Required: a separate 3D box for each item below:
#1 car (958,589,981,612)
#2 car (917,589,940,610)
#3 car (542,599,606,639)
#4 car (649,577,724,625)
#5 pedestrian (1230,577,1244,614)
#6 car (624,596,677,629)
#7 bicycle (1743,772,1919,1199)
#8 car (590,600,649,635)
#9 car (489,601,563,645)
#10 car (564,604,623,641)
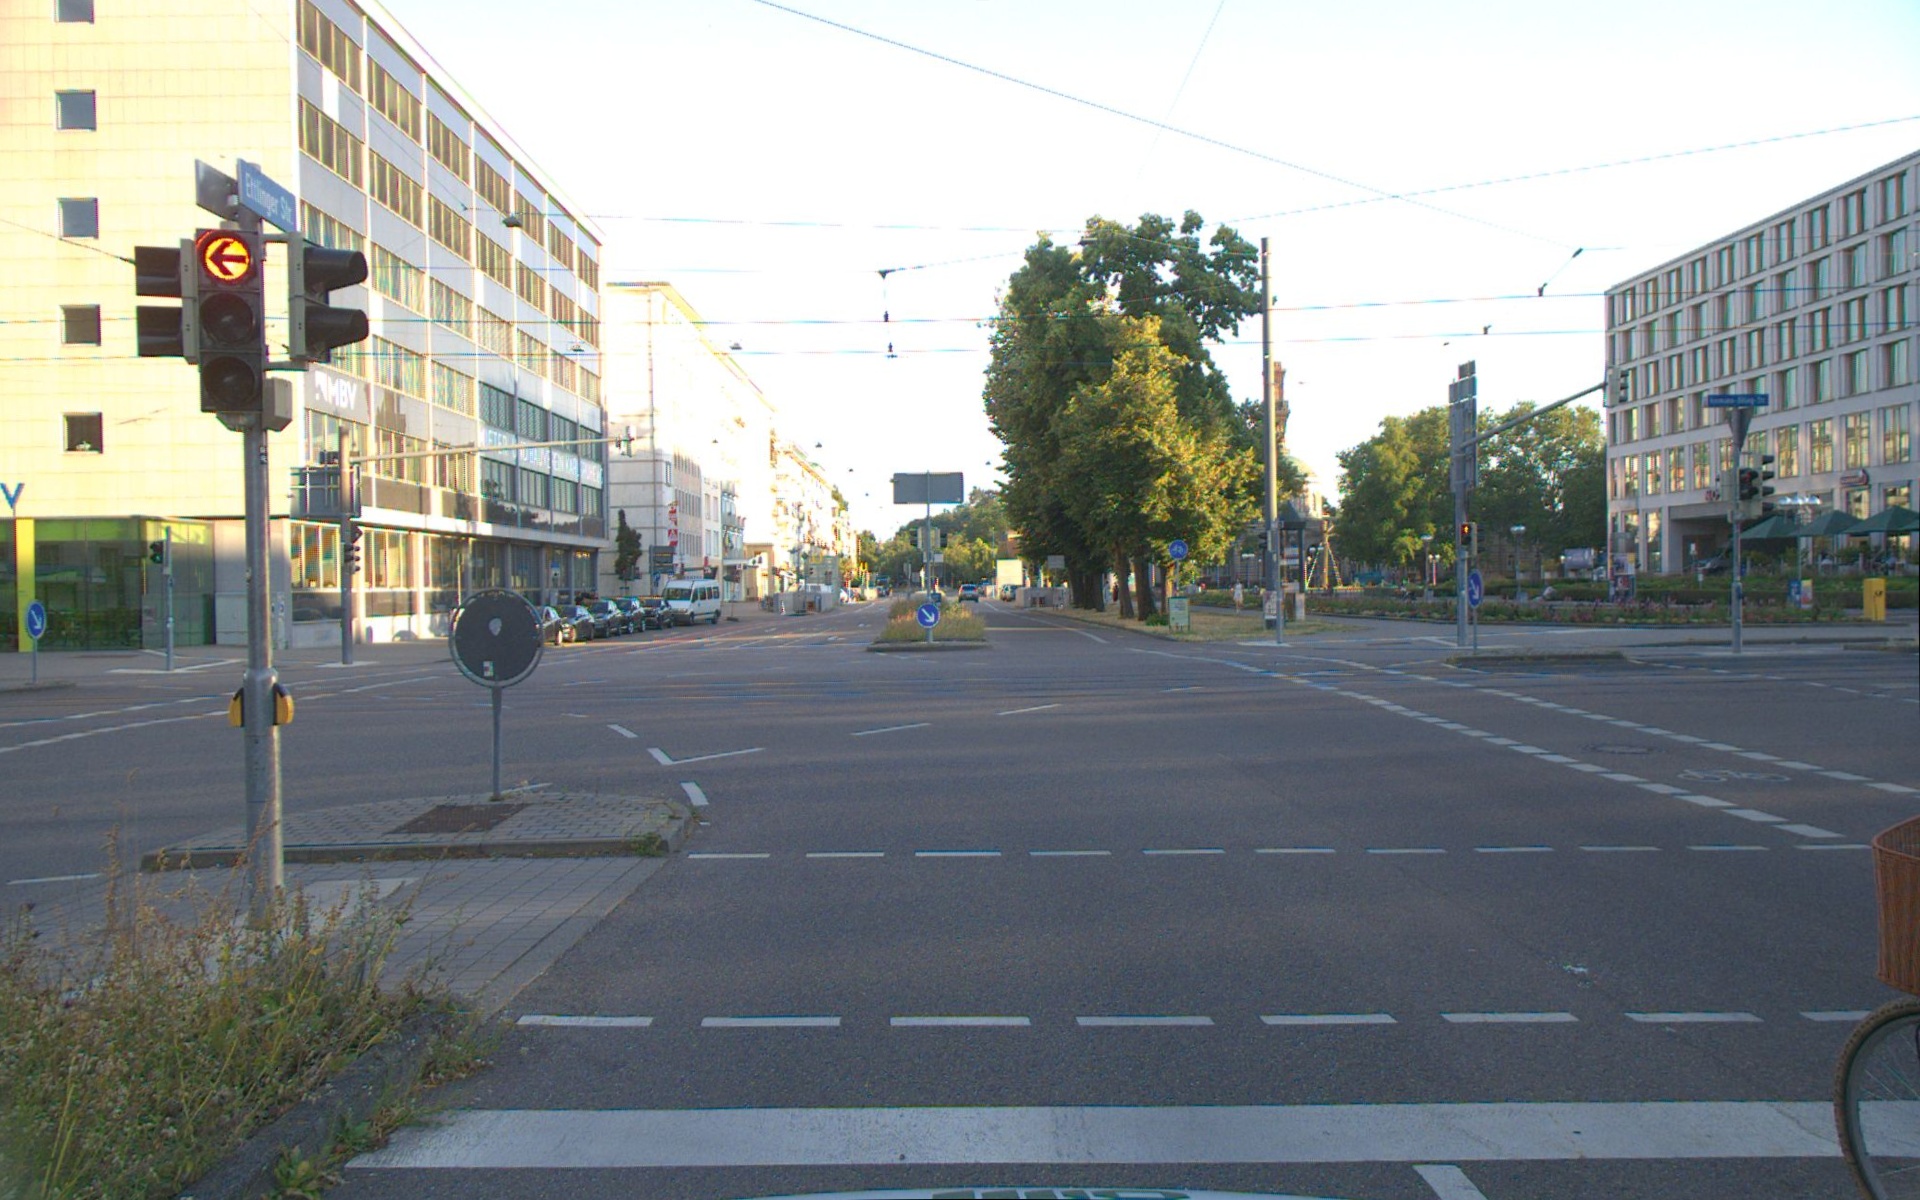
[{"bbox_3d":[0.853,0.034,151.664,1.953,2.049,3.999,-1,0,-2],"label":"car"},{"bbox_3d":[-2.849,-0.044,148.933,1.953,1.847,3.999,-1,0,-2],"label":"car"},{"bbox_3d":[-15.840,0.819,68.007,1.760,1.501,3.998,-1,-2,-1],"label":"car"},{"bbox_3d":[-15.026,0.088,91.251,2.130,2.427,5.994,-2,-2,11],"label":"car"},{"bbox_3d":[12.921,-0.222,77.125,0.498,1.697,0.531,-1,0,-2],"label":"pedestrian"},{"bbox_3d":[-15.817,0.656,84.643,1.759,1.501,4.001,-1,-2,3],"label":"car"},{"bbox_3d":[2.127,0.949,2.776,0.624,1.087,2.069,0,0,-1],"label":"bicycle"},{"bbox_3d":[-16.063,0.839,78.238,1.758,1.501,4.001,-1,-2,3],"label":"car"},{"bbox_3d":[-16.149,0.887,61.721,1.760,1.501,3.998,-1,-2,-1],"label":"car"},{"bbox_3d":[-16.107,1.008,72.890,1.760,1.501,3.998,-1,-2,-1],"label":"car"}]
